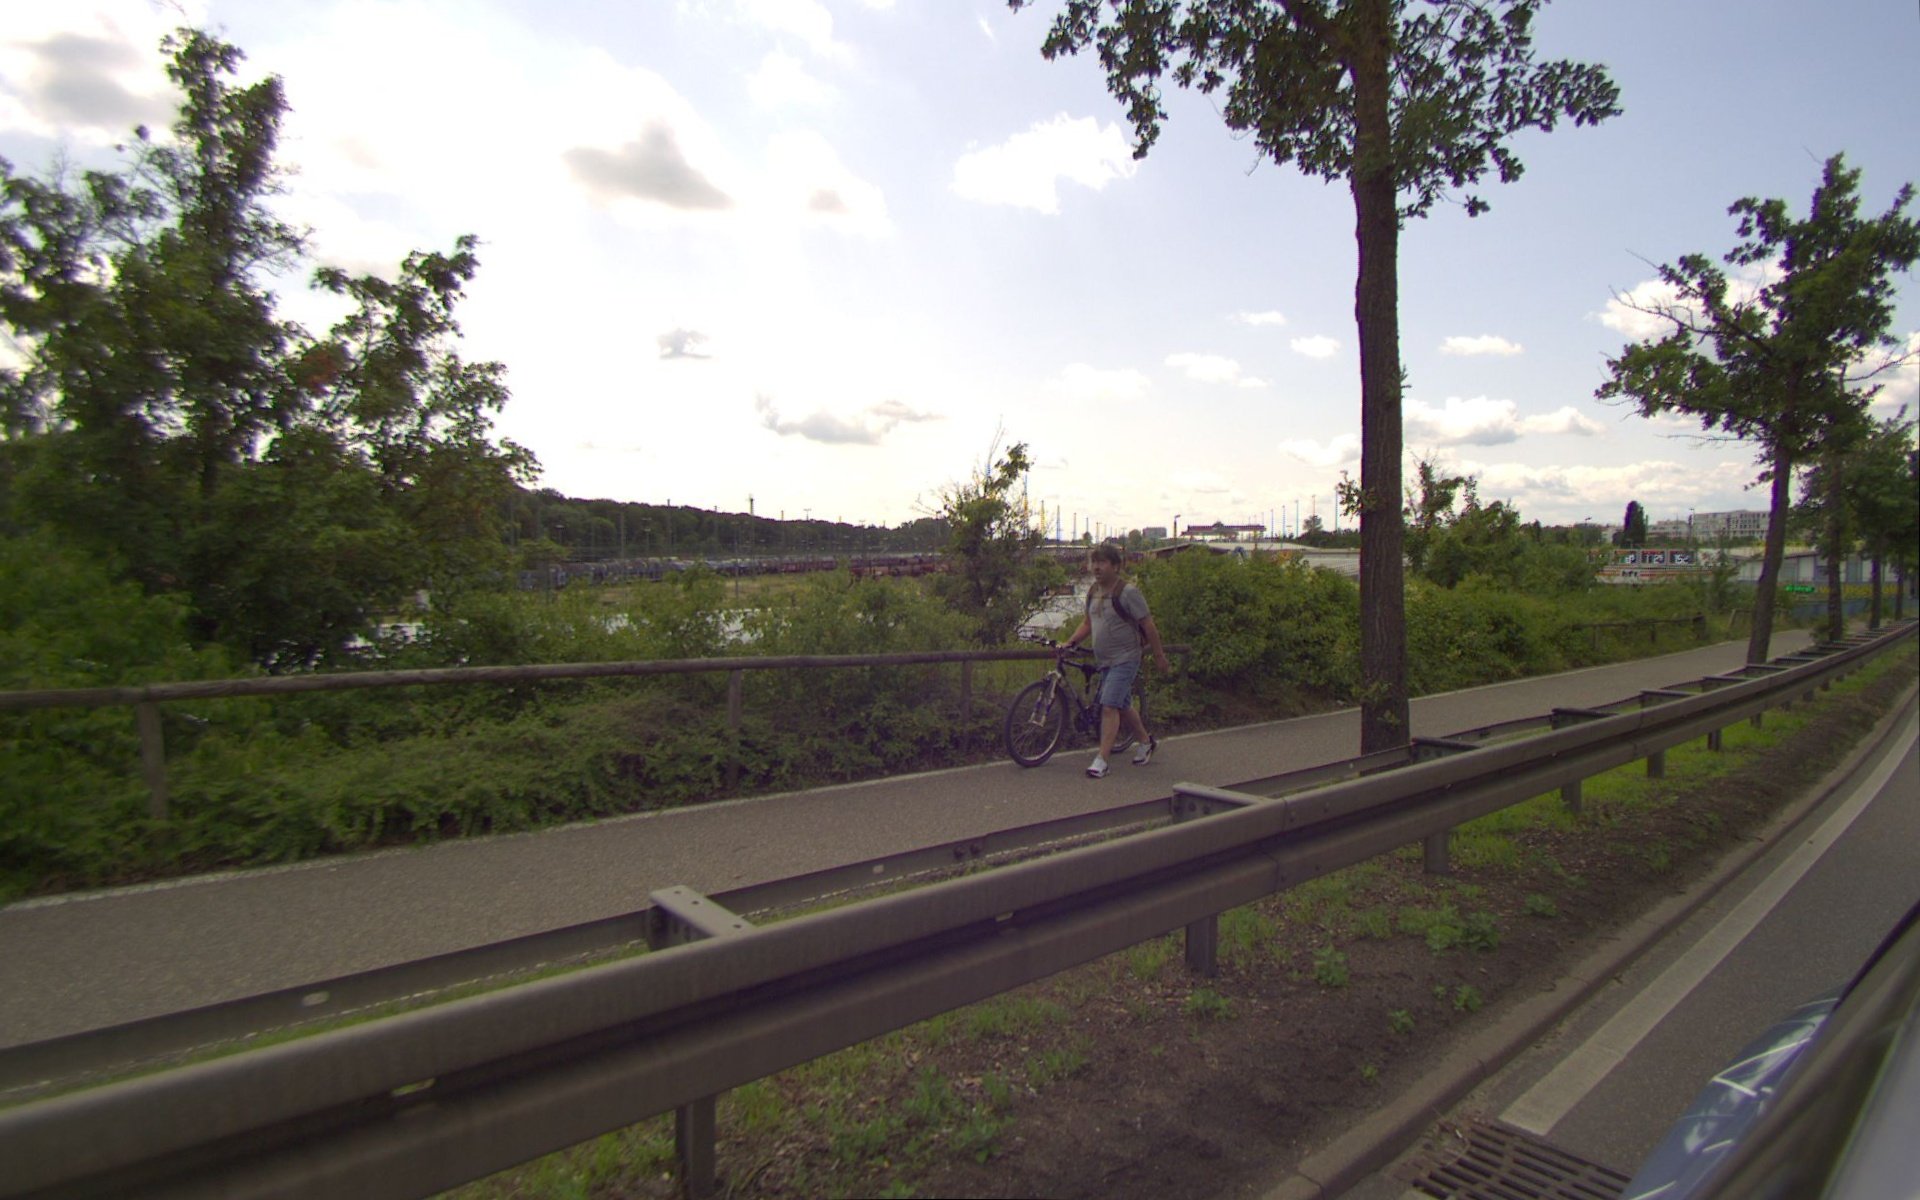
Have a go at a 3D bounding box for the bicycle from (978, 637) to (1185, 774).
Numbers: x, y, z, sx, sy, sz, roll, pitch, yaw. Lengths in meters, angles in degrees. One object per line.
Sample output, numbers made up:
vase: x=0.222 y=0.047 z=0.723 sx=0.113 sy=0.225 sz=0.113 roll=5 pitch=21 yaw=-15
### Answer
bicycle: x=0.994 y=0.773 z=7.957 sx=1.794 sy=0.880 sz=0.557 roll=0 pitch=3 yaw=-42

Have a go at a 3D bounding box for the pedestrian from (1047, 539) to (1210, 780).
pedestrian: x=1.268 y=0.399 z=7.591 sx=1.036 sy=1.662 sz=0.658 roll=0 pitch=2 yaw=-42
